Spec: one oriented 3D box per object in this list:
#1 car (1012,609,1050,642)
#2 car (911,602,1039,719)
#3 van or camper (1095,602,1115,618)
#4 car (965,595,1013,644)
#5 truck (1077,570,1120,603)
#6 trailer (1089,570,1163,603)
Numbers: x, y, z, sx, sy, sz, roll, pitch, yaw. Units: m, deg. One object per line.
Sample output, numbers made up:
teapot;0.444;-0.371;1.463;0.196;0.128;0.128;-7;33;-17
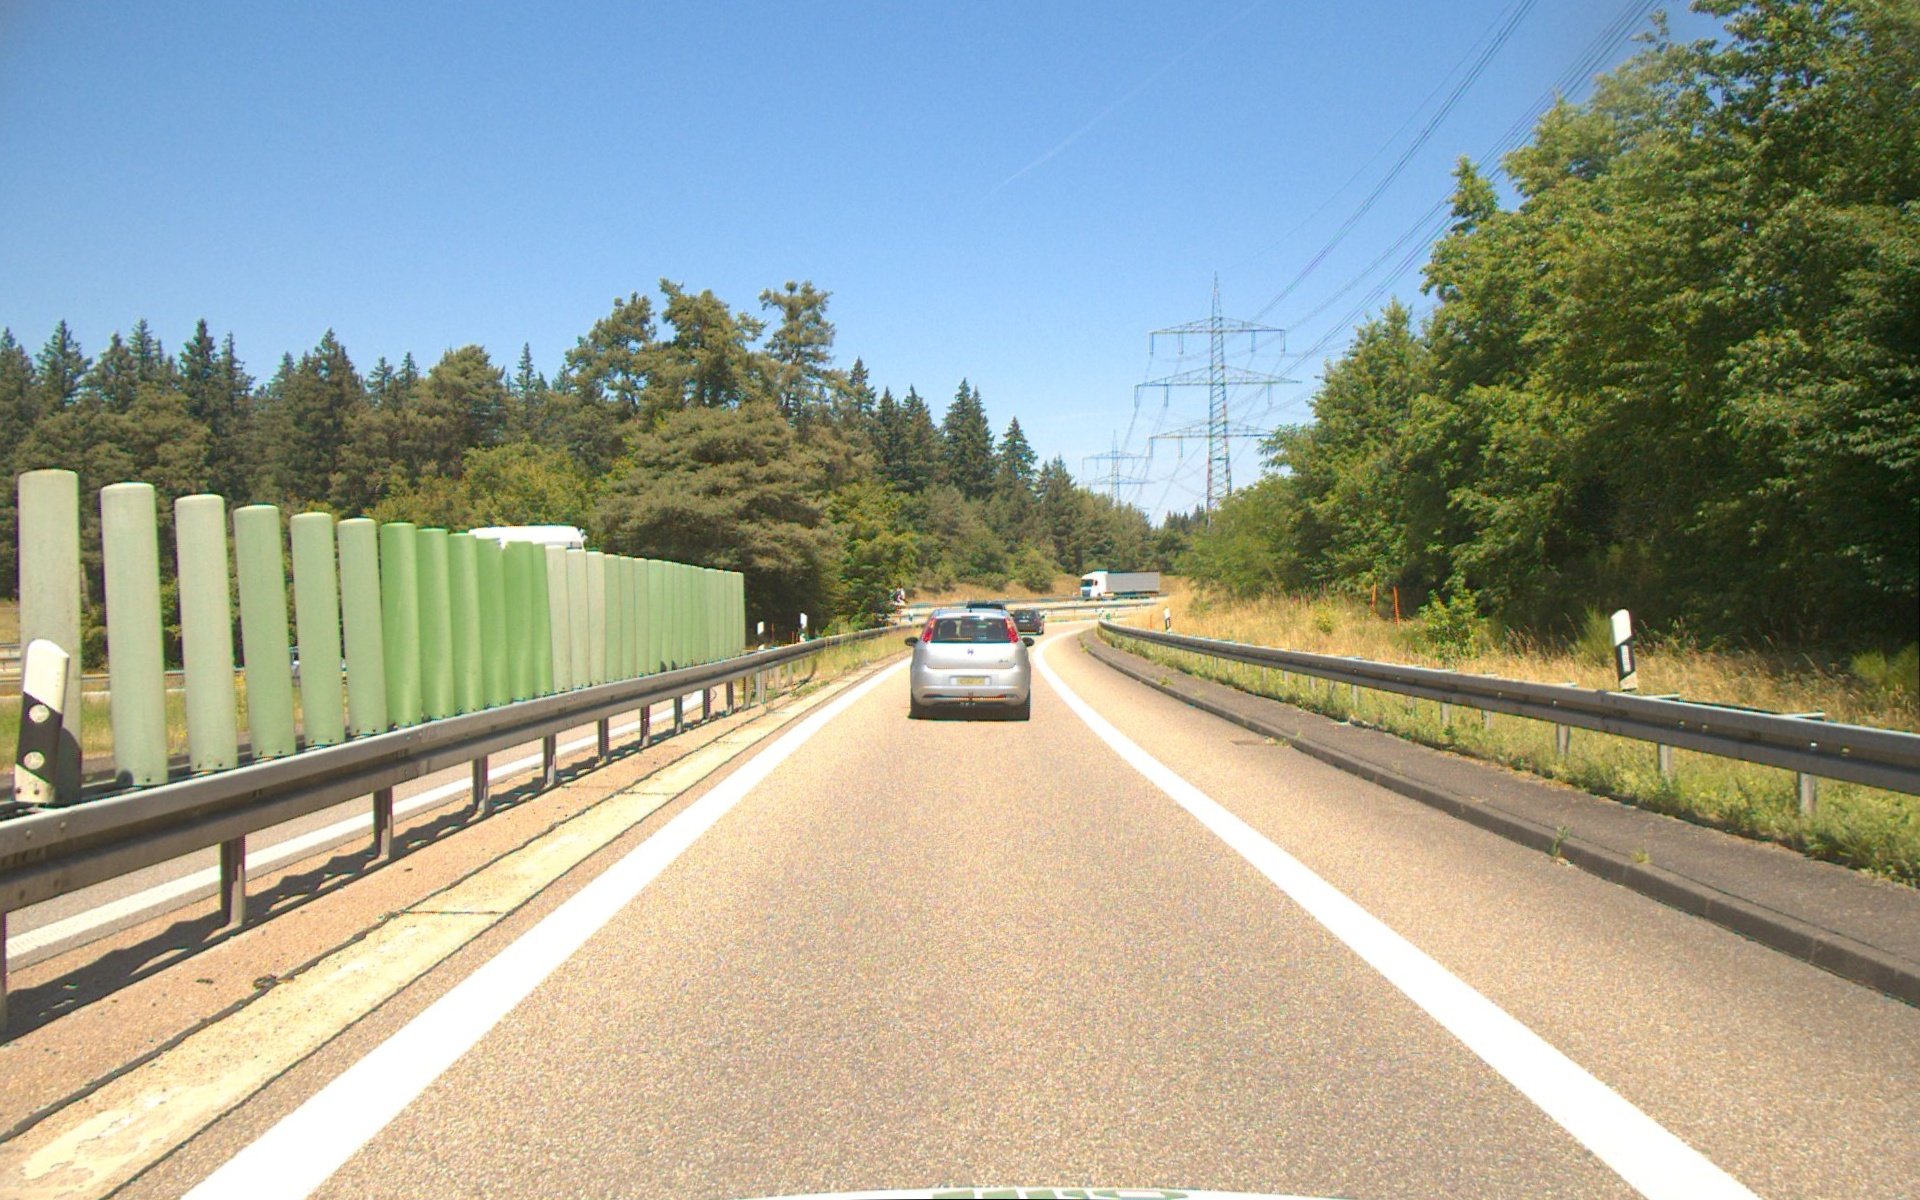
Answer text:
car;4.011;1.416;93.099;1.842;1.713;4.003;-3;0;6
car;0.151;0.799;23.421;1.672;1.507;3.397;0;0;-2
van or camper;14.260;0.952;162.307;1.768;1.512;4.004;0;1;8
car;1.097;0.689;60.962;1.671;1.705;3.399;0;0;2
truck;19.949;-1.947;238.057;2.896;4.469;6.234;-2;0;42
trailer;24.494;-2.036;243.089;2.882;4.464;14.209;-2;0;42
